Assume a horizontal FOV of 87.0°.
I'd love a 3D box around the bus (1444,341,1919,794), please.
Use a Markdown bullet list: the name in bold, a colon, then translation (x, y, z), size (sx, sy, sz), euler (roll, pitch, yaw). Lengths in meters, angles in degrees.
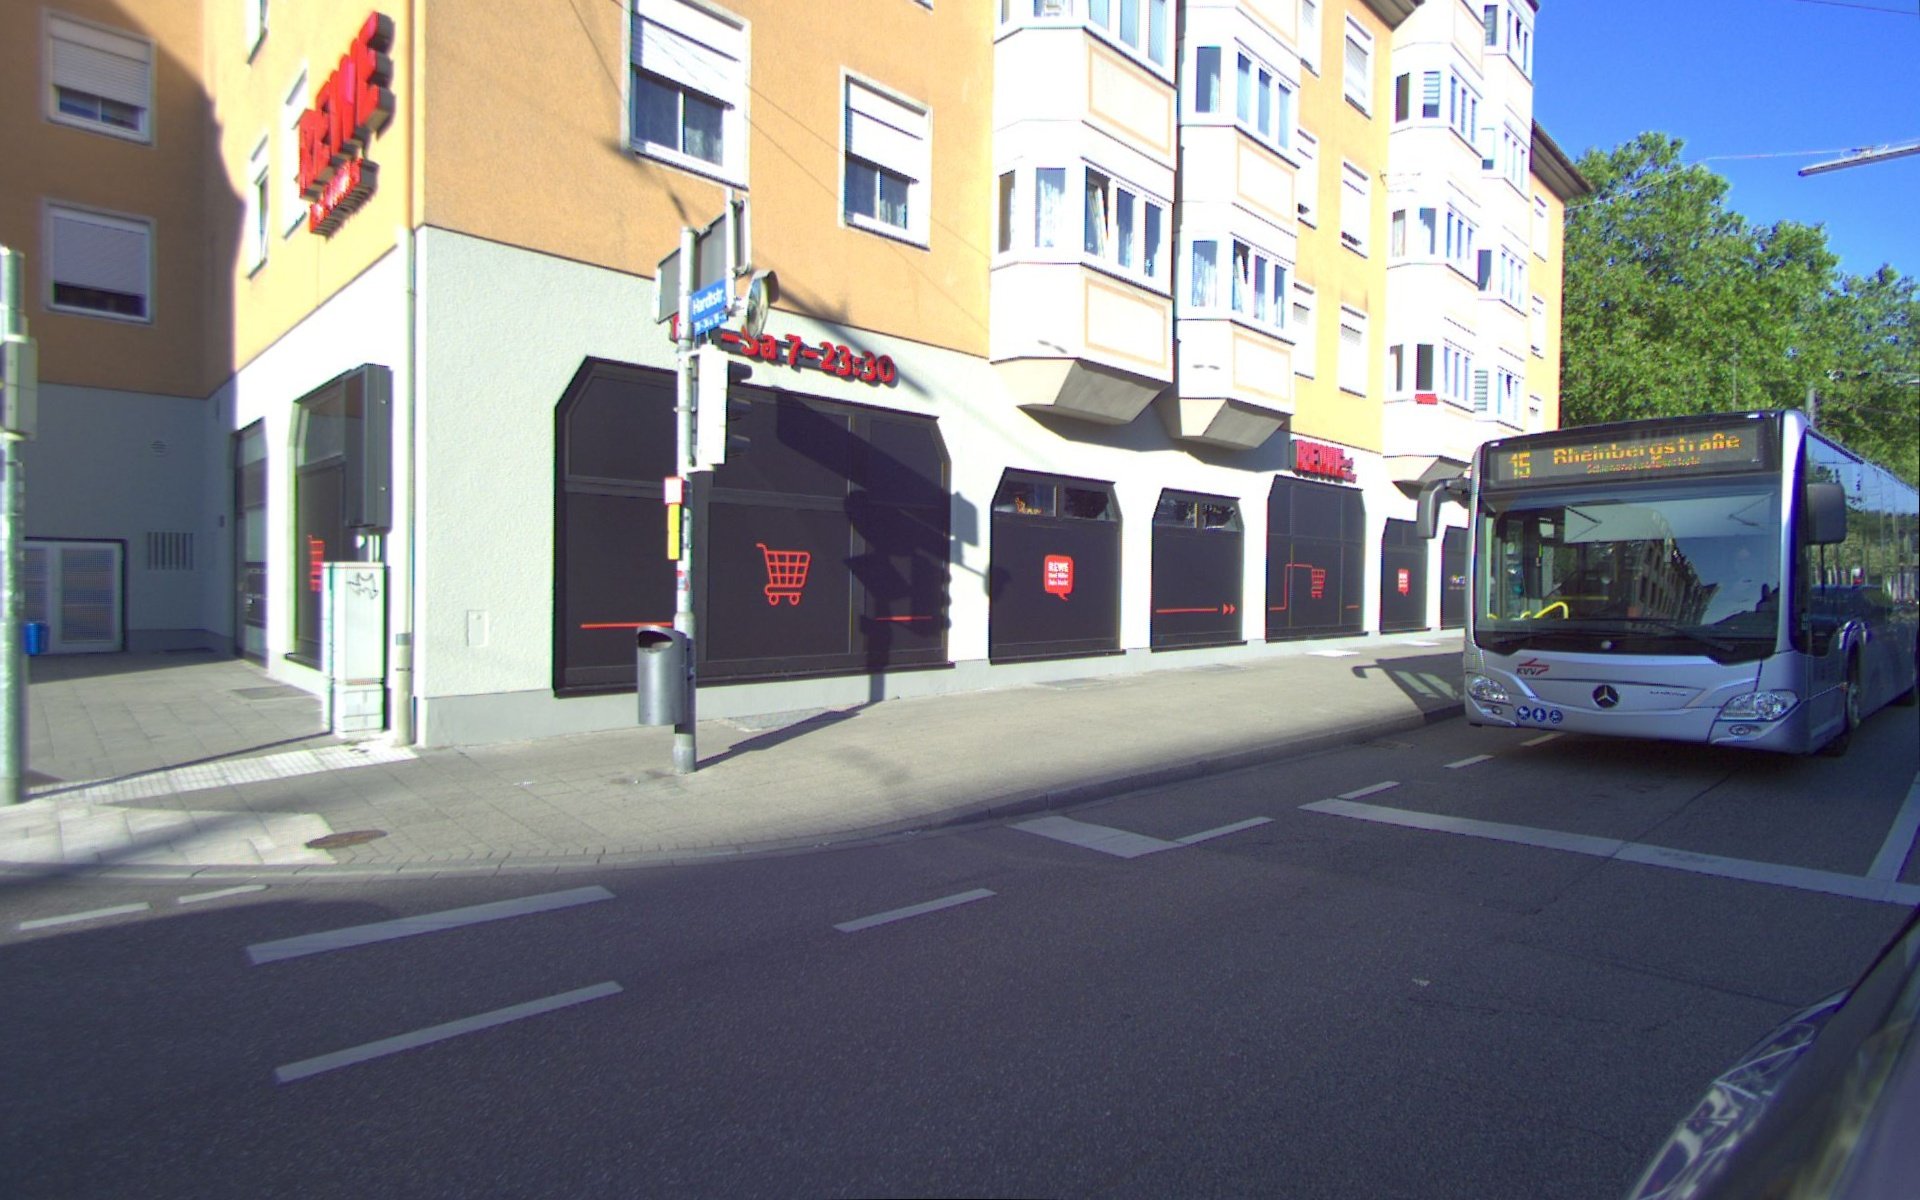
- **bus**: translation (11.718, -0.390, 14.089), size (17.442, 3.189, 2.769), euler (-1, 2, -43)
